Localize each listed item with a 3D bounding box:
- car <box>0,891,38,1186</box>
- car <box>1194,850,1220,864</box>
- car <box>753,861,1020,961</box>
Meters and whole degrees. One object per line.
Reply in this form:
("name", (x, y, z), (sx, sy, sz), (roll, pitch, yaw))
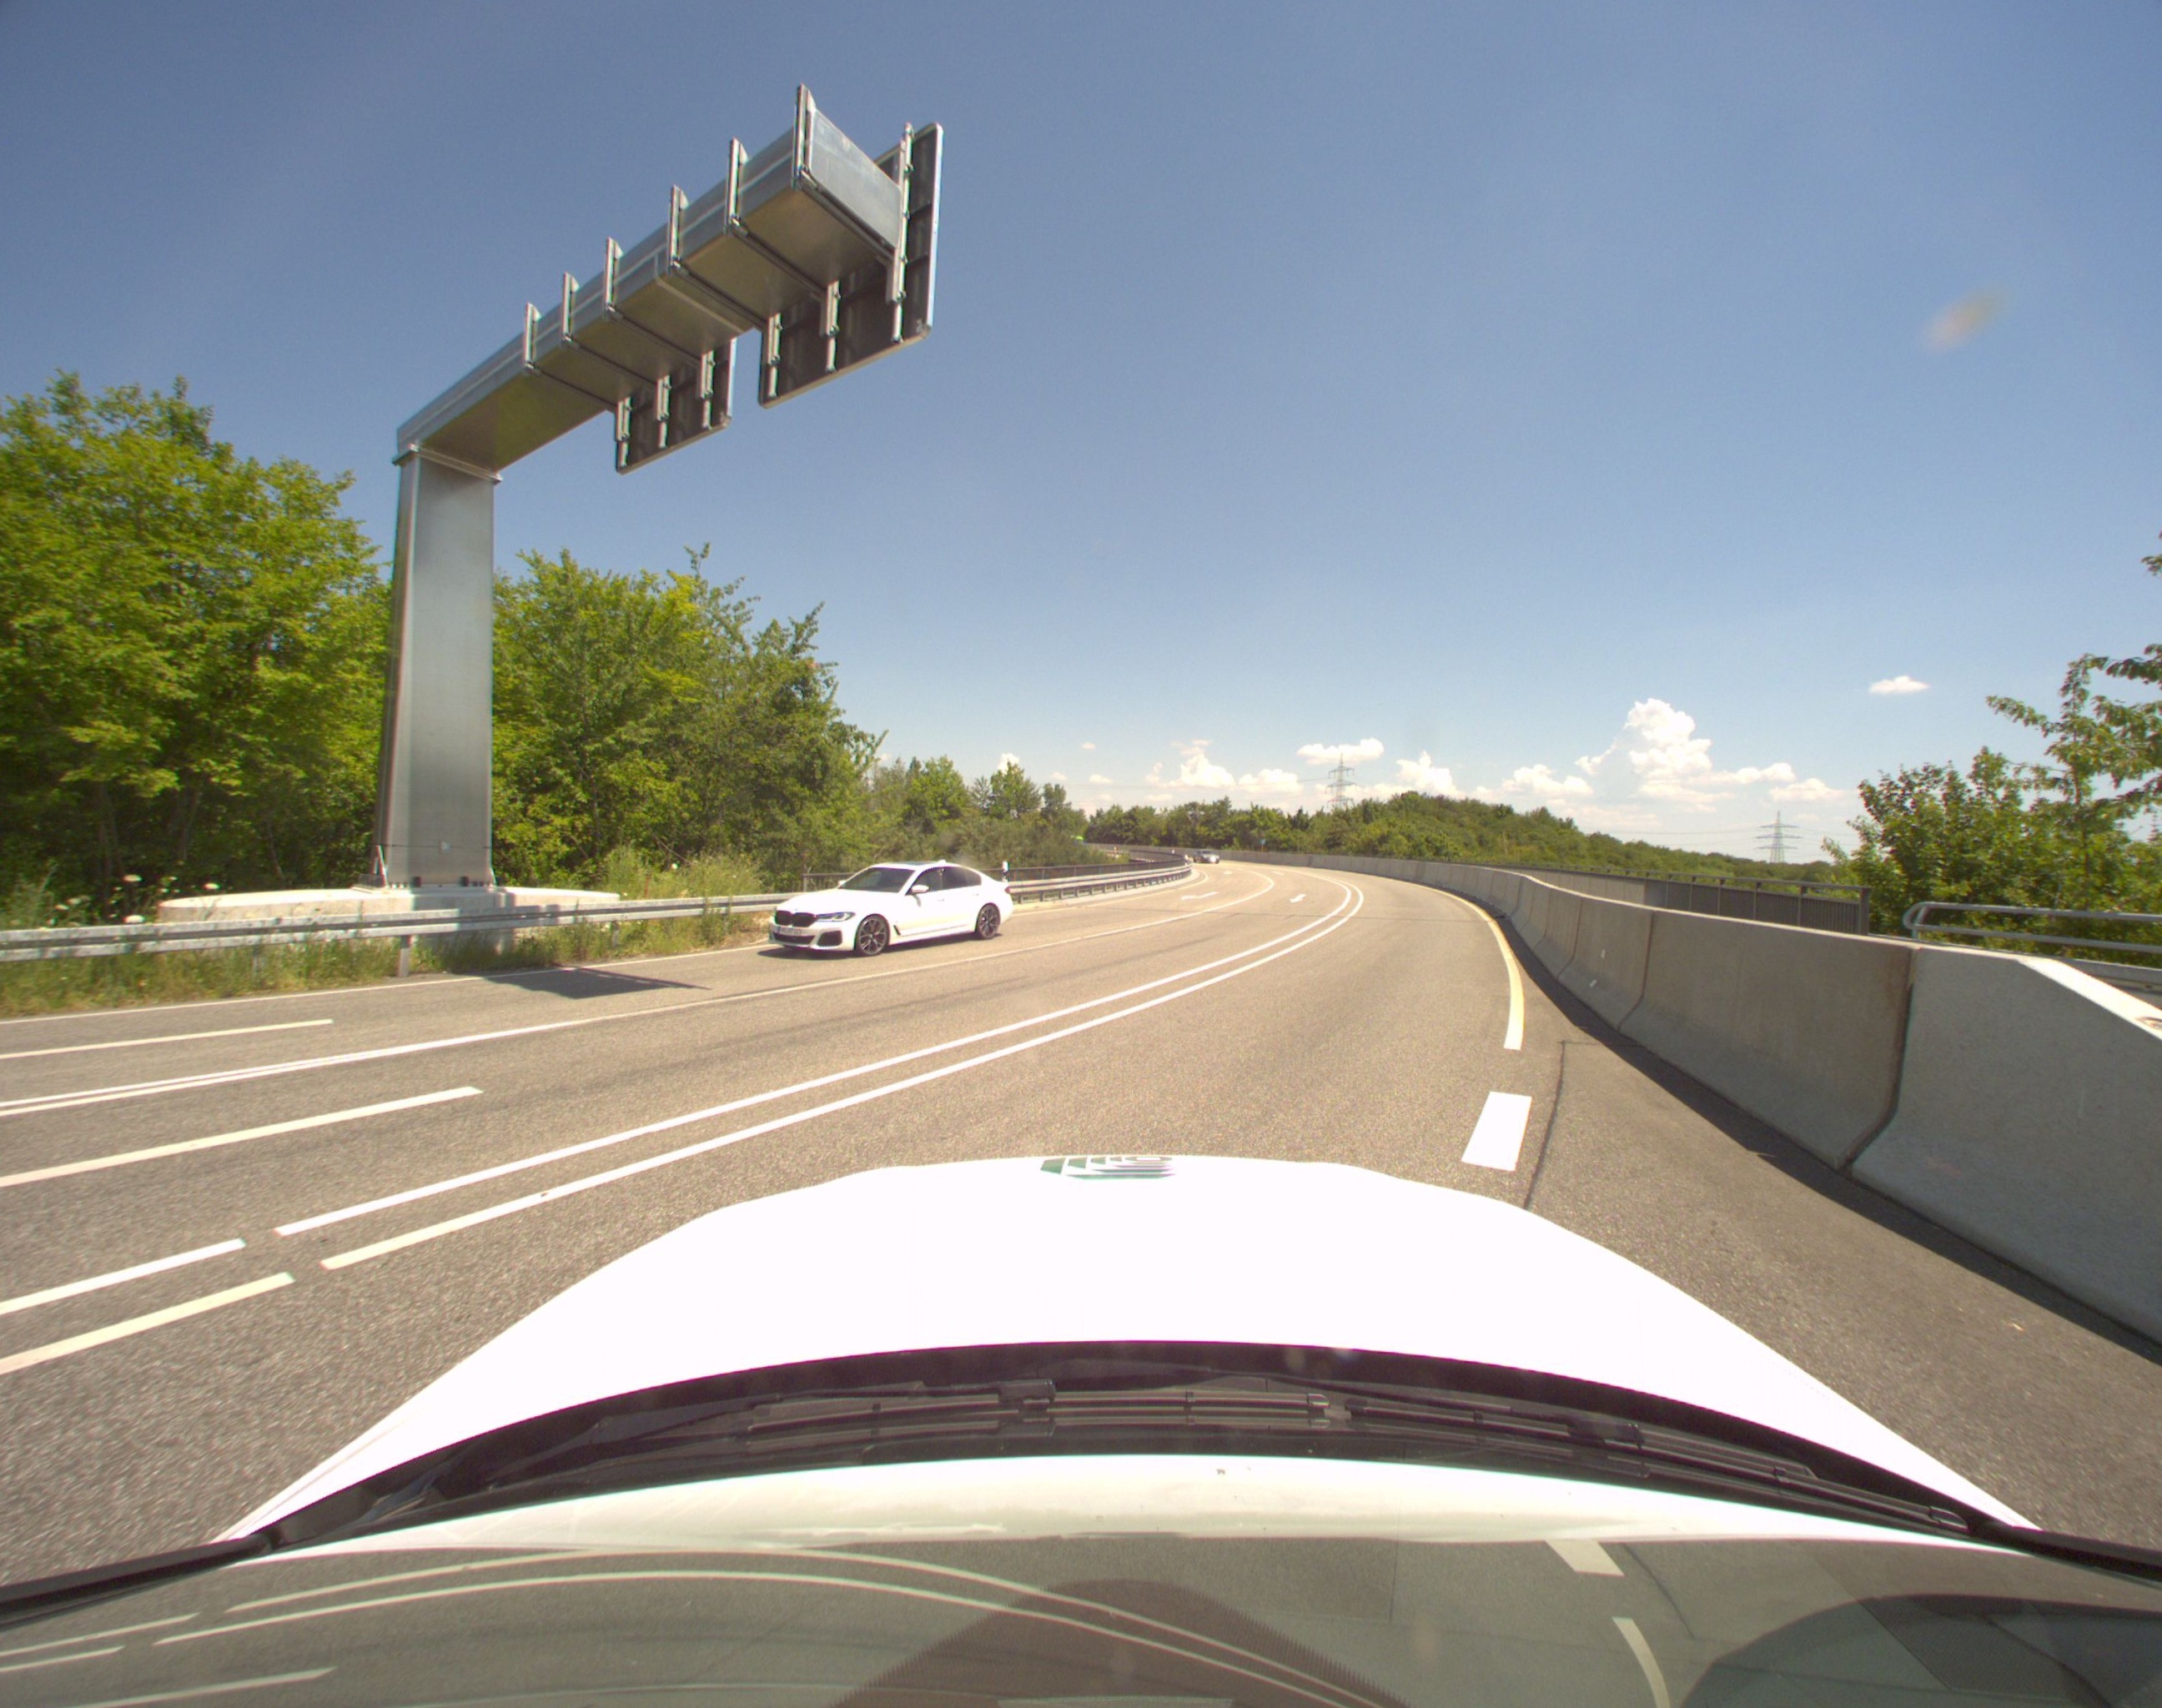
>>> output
("car", (-6.705, 0.870, 2.609), (1.630, 1.352, 3.994), (-1, -1, 33))
("car", (13.226, 0.266, 85.609), (1.775, 1.384, 4.276), (1, 0, -4))
("car", (-3.242, 0.877, 14.686), (1.820, 1.484, 4.867), (-1, -1, 30))
